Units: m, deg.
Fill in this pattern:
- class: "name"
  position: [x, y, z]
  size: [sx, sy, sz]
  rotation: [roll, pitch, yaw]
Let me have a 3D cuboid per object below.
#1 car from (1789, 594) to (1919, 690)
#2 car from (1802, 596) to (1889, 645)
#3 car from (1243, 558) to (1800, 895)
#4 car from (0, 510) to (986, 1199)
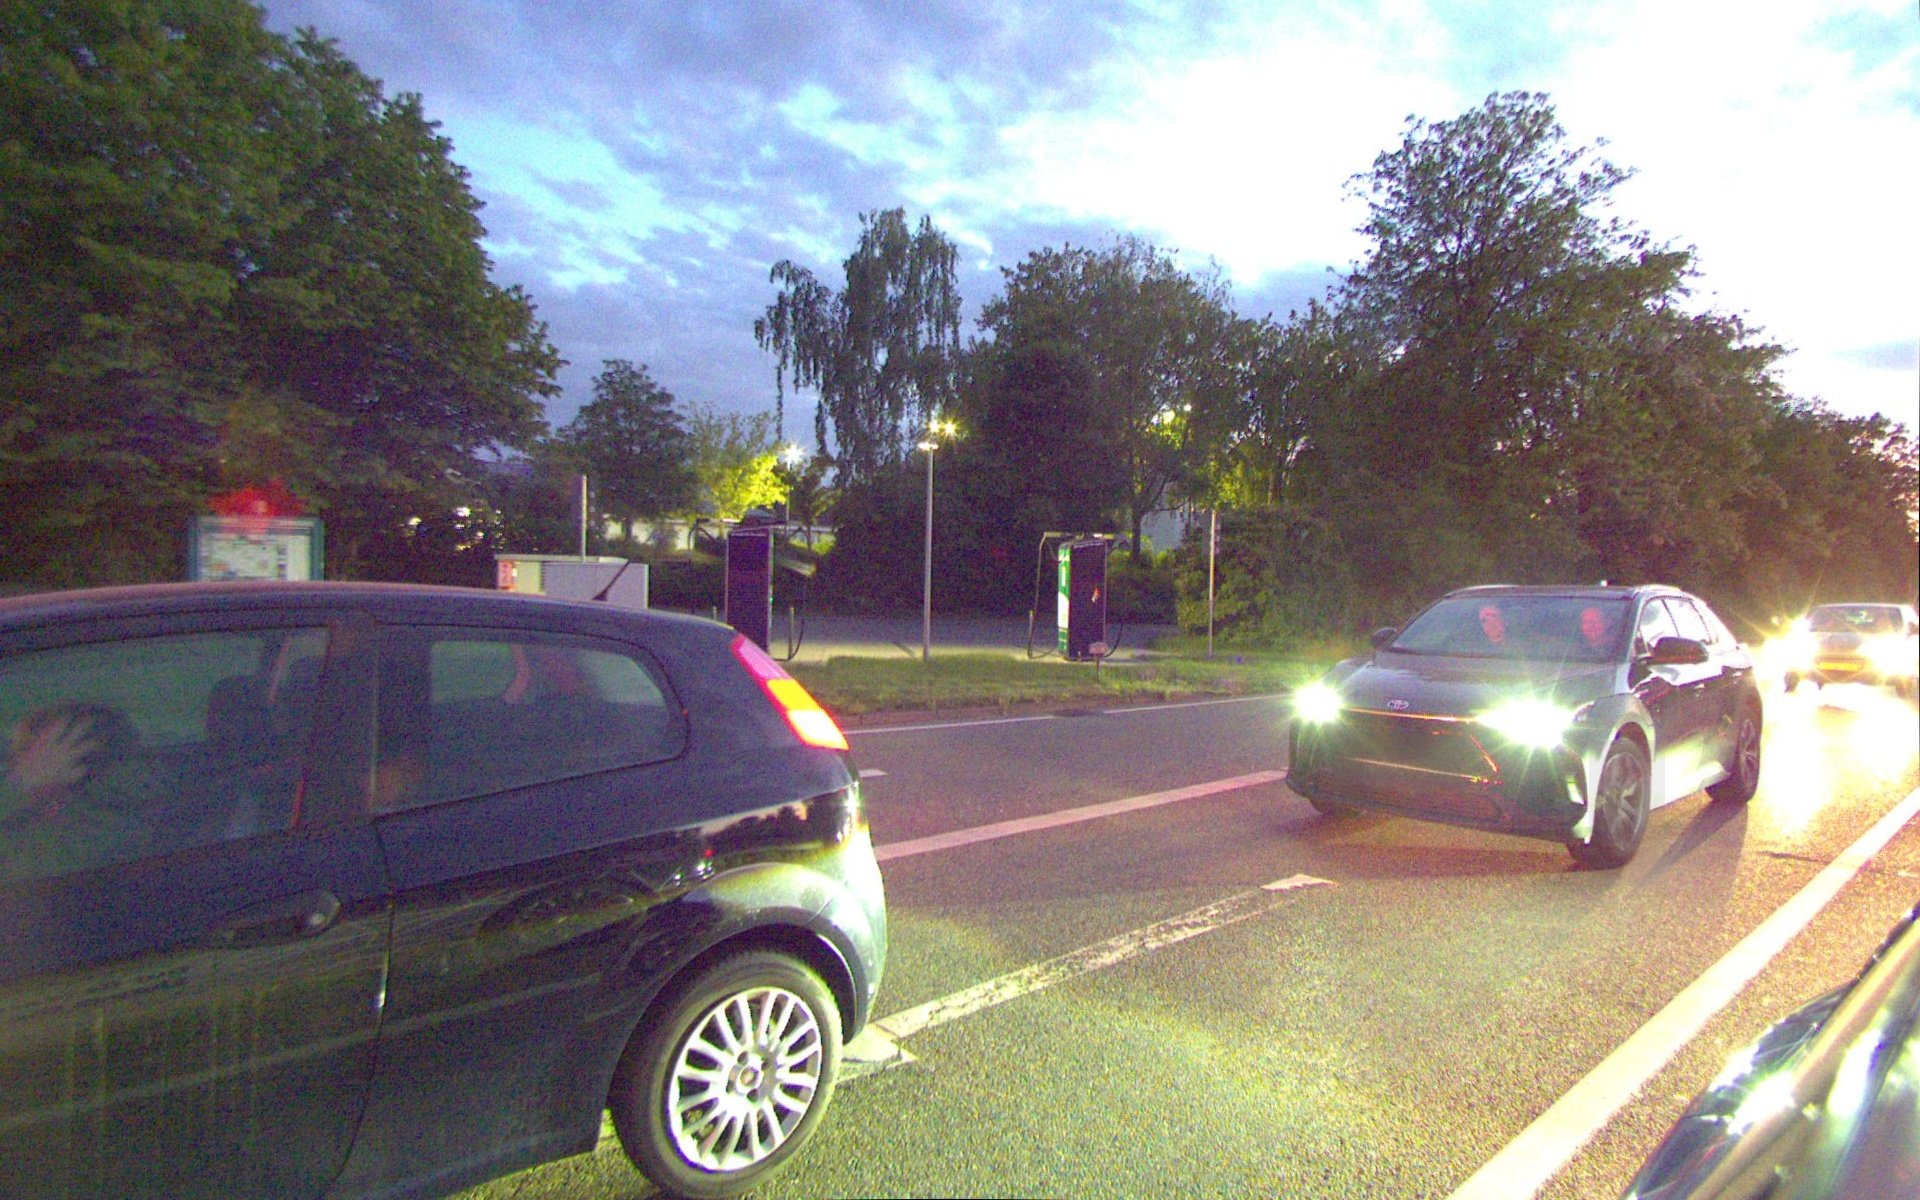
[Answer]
- class: "car"
  position: [15.727, 0.642, 17.430]
  size: [3.803, 1.487, 1.622]
  rotation: [0, 0, -41]
- class: "car"
  position: [28.366, 0.605, 32.537]
  size: [1.915, 1.450, 4.636]
  rotation: [1, 1, 39]
- class: "car"
  position: [4.185, 0.600, 7.171]
  size: [4.629, 1.630, 1.997]
  rotation: [0, 0, -41]
- class: "car"
  position: [-2.010, 0.618, 2.218]
  size: [4.032, 1.540, 1.674]
  rotation: [0, 1, -39]
